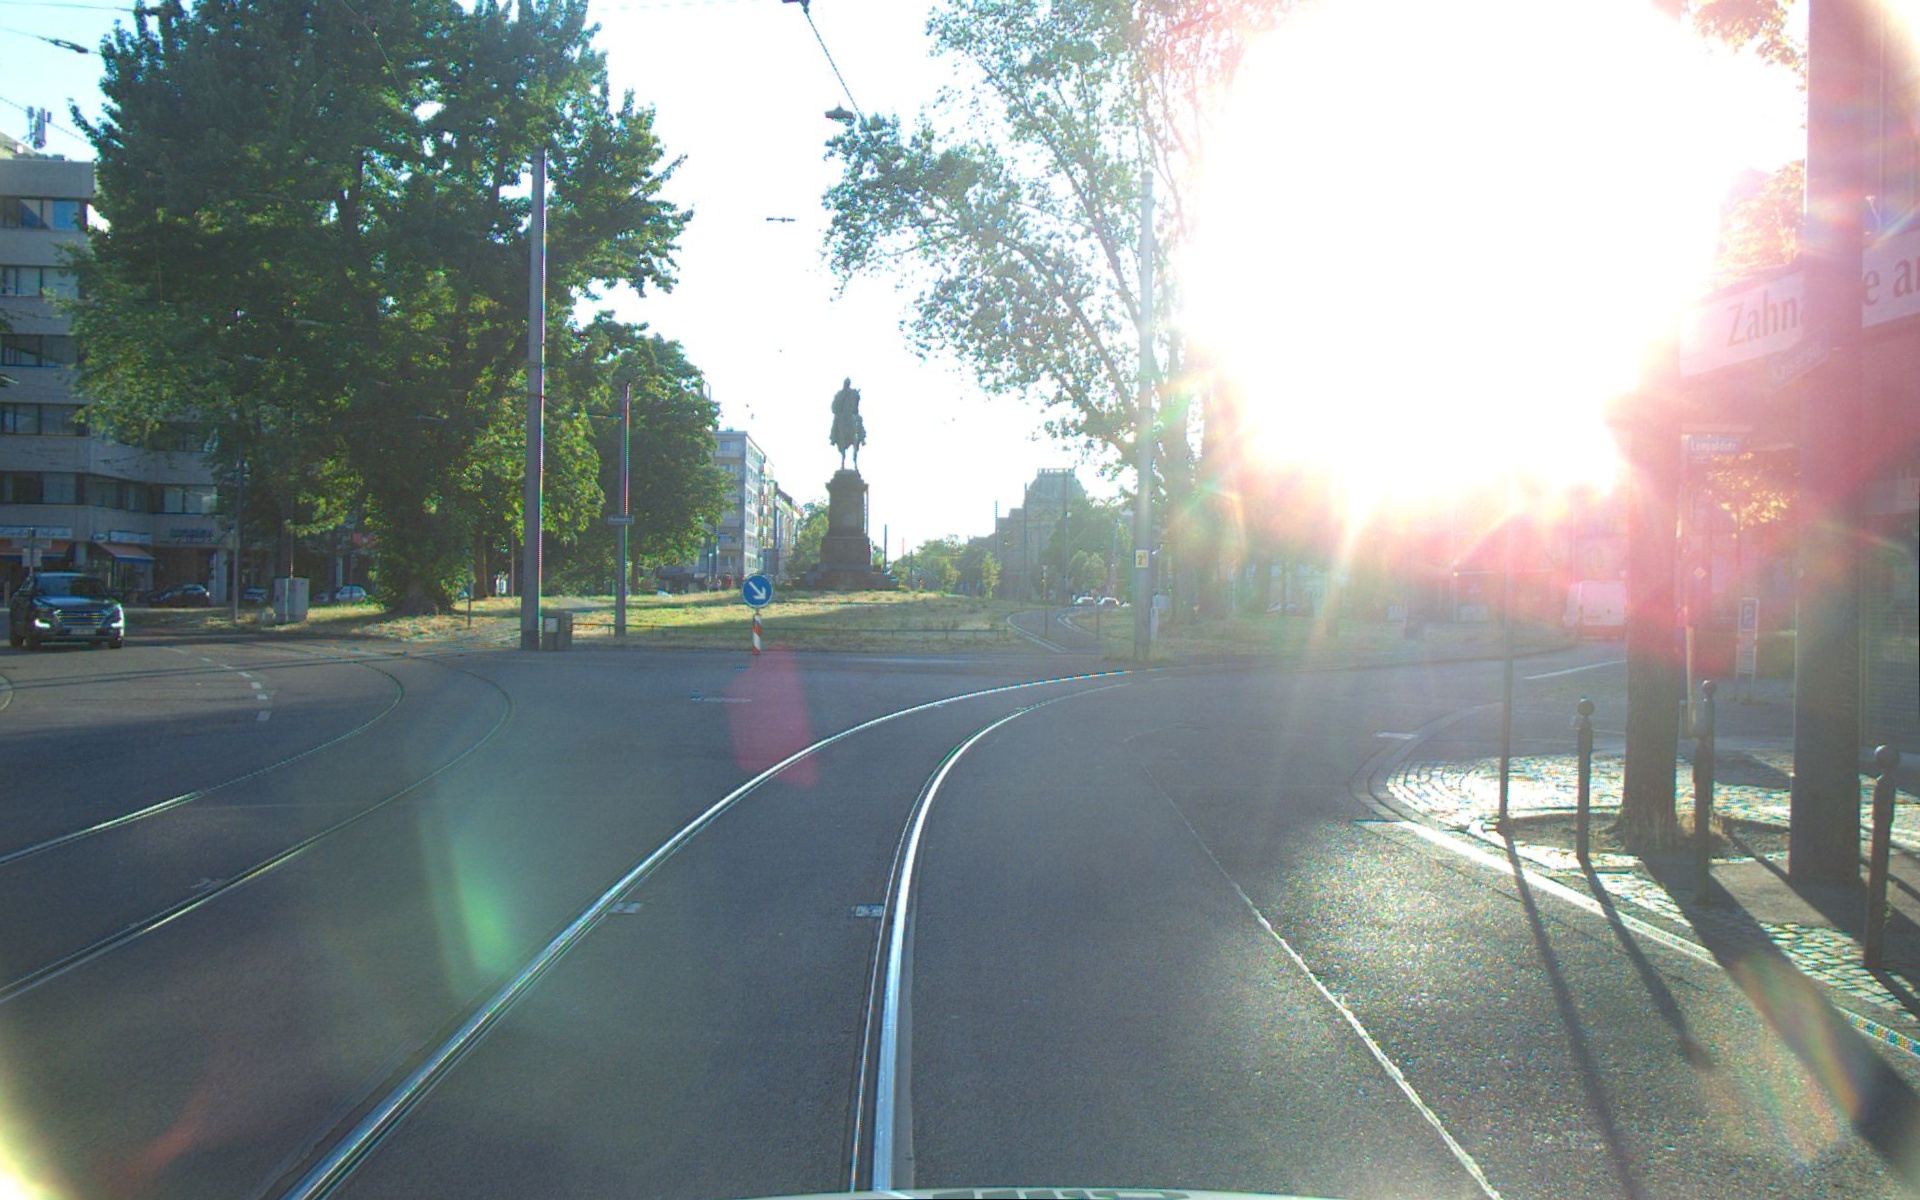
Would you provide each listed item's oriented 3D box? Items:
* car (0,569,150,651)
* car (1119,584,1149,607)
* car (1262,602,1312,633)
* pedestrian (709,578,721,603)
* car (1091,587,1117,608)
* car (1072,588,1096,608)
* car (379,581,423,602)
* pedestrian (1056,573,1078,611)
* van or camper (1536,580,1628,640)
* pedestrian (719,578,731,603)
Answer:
[{"bbox_3d":[-19.649,0.184,36.637,1.953,1.706,4.291,0,0,-42],"label":"car"},{"bbox_3d":[16.030,-0.412,152.710,2.096,2.049,3.998,1,0,-3],"label":"car"},{"bbox_3d":[22.317,1.158,113.042,1.959,2.004,3.988,0,1,-12],"label":"car"},{"bbox_3d":[-16.003,-0.628,108.093,0.755,1.634,0.637,0,0,-9],"label":"pedestrian"},{"bbox_3d":[14.523,-0.283,167.113,2.096,2.049,3.998,1,0,-3],"label":"car"},{"bbox_3d":[13.492,-0.220,179.588,2.096,2.049,3.998,1,0,-3],"label":"car"},{"bbox_3d":[-39.850,-0.606,117.963,1.838,1.445,3.925,1,0,0],"label":"car"},{"bbox_3d":[4.642,-0.351,71.705,0.627,1.634,0.766,1,0,45],"label":"pedestrian"},{"bbox_3d":[27.128,0.378,72.439,2.551,2.515,6.326,0,1,9],"label":"van or camper"},{"bbox_3d":[-15.279,-0.619,107.659,0.755,1.634,0.637,0,0,-9],"label":"pedestrian"}]
